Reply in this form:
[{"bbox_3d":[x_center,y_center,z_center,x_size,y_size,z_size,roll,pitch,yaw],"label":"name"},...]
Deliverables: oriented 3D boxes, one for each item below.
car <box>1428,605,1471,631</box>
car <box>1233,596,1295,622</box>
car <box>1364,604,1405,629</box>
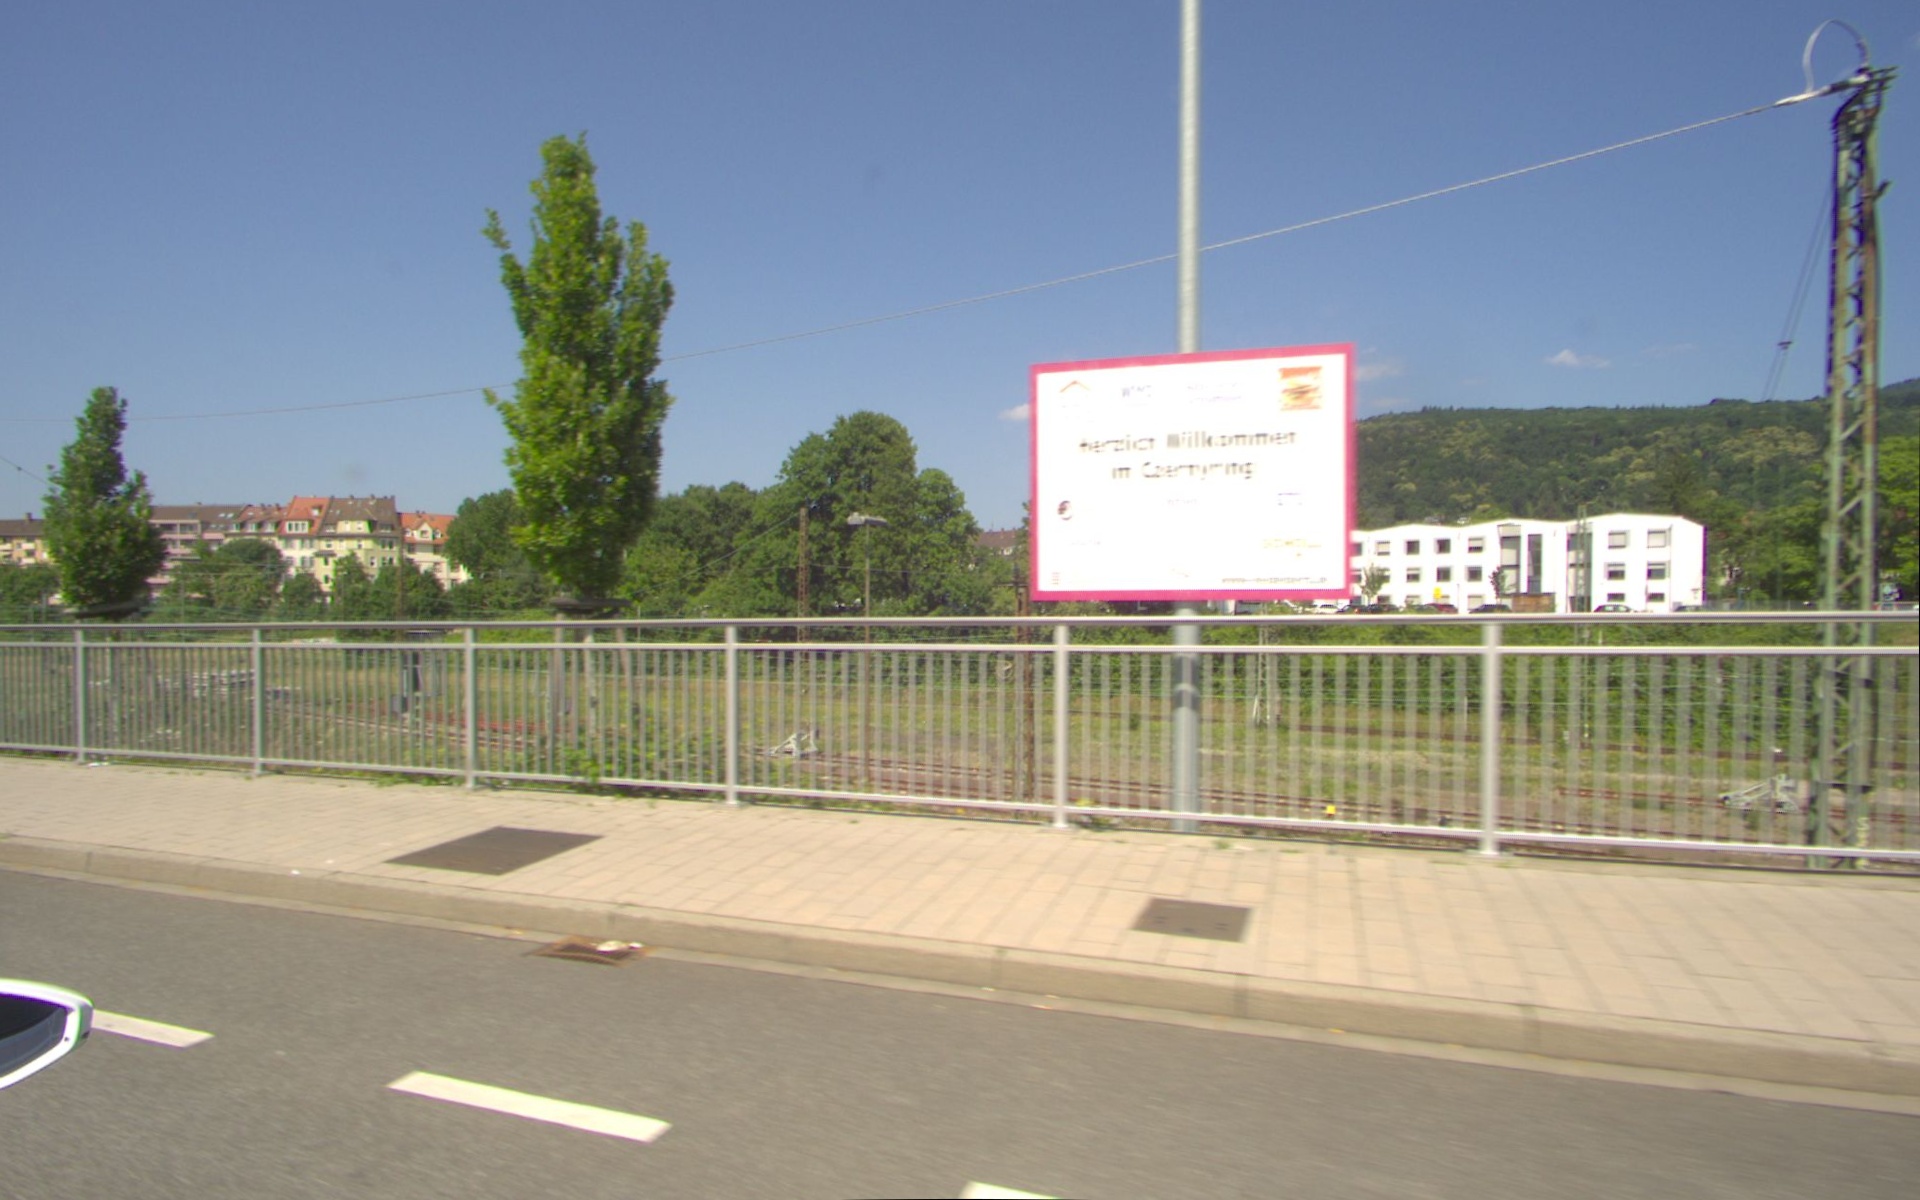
[{"bbox_3d":[39.403,1.424,80.562,1.977,2.040,4.433,0,0,41],"label":"car"},{"bbox_3d":[26.271,0.768,86.450,4.909,2.141,1.993,0,1,25],"label":"car"},{"bbox_3d":[35.766,1.352,84.326,1.977,2.040,4.433,0,0,41],"label":"car"}]
